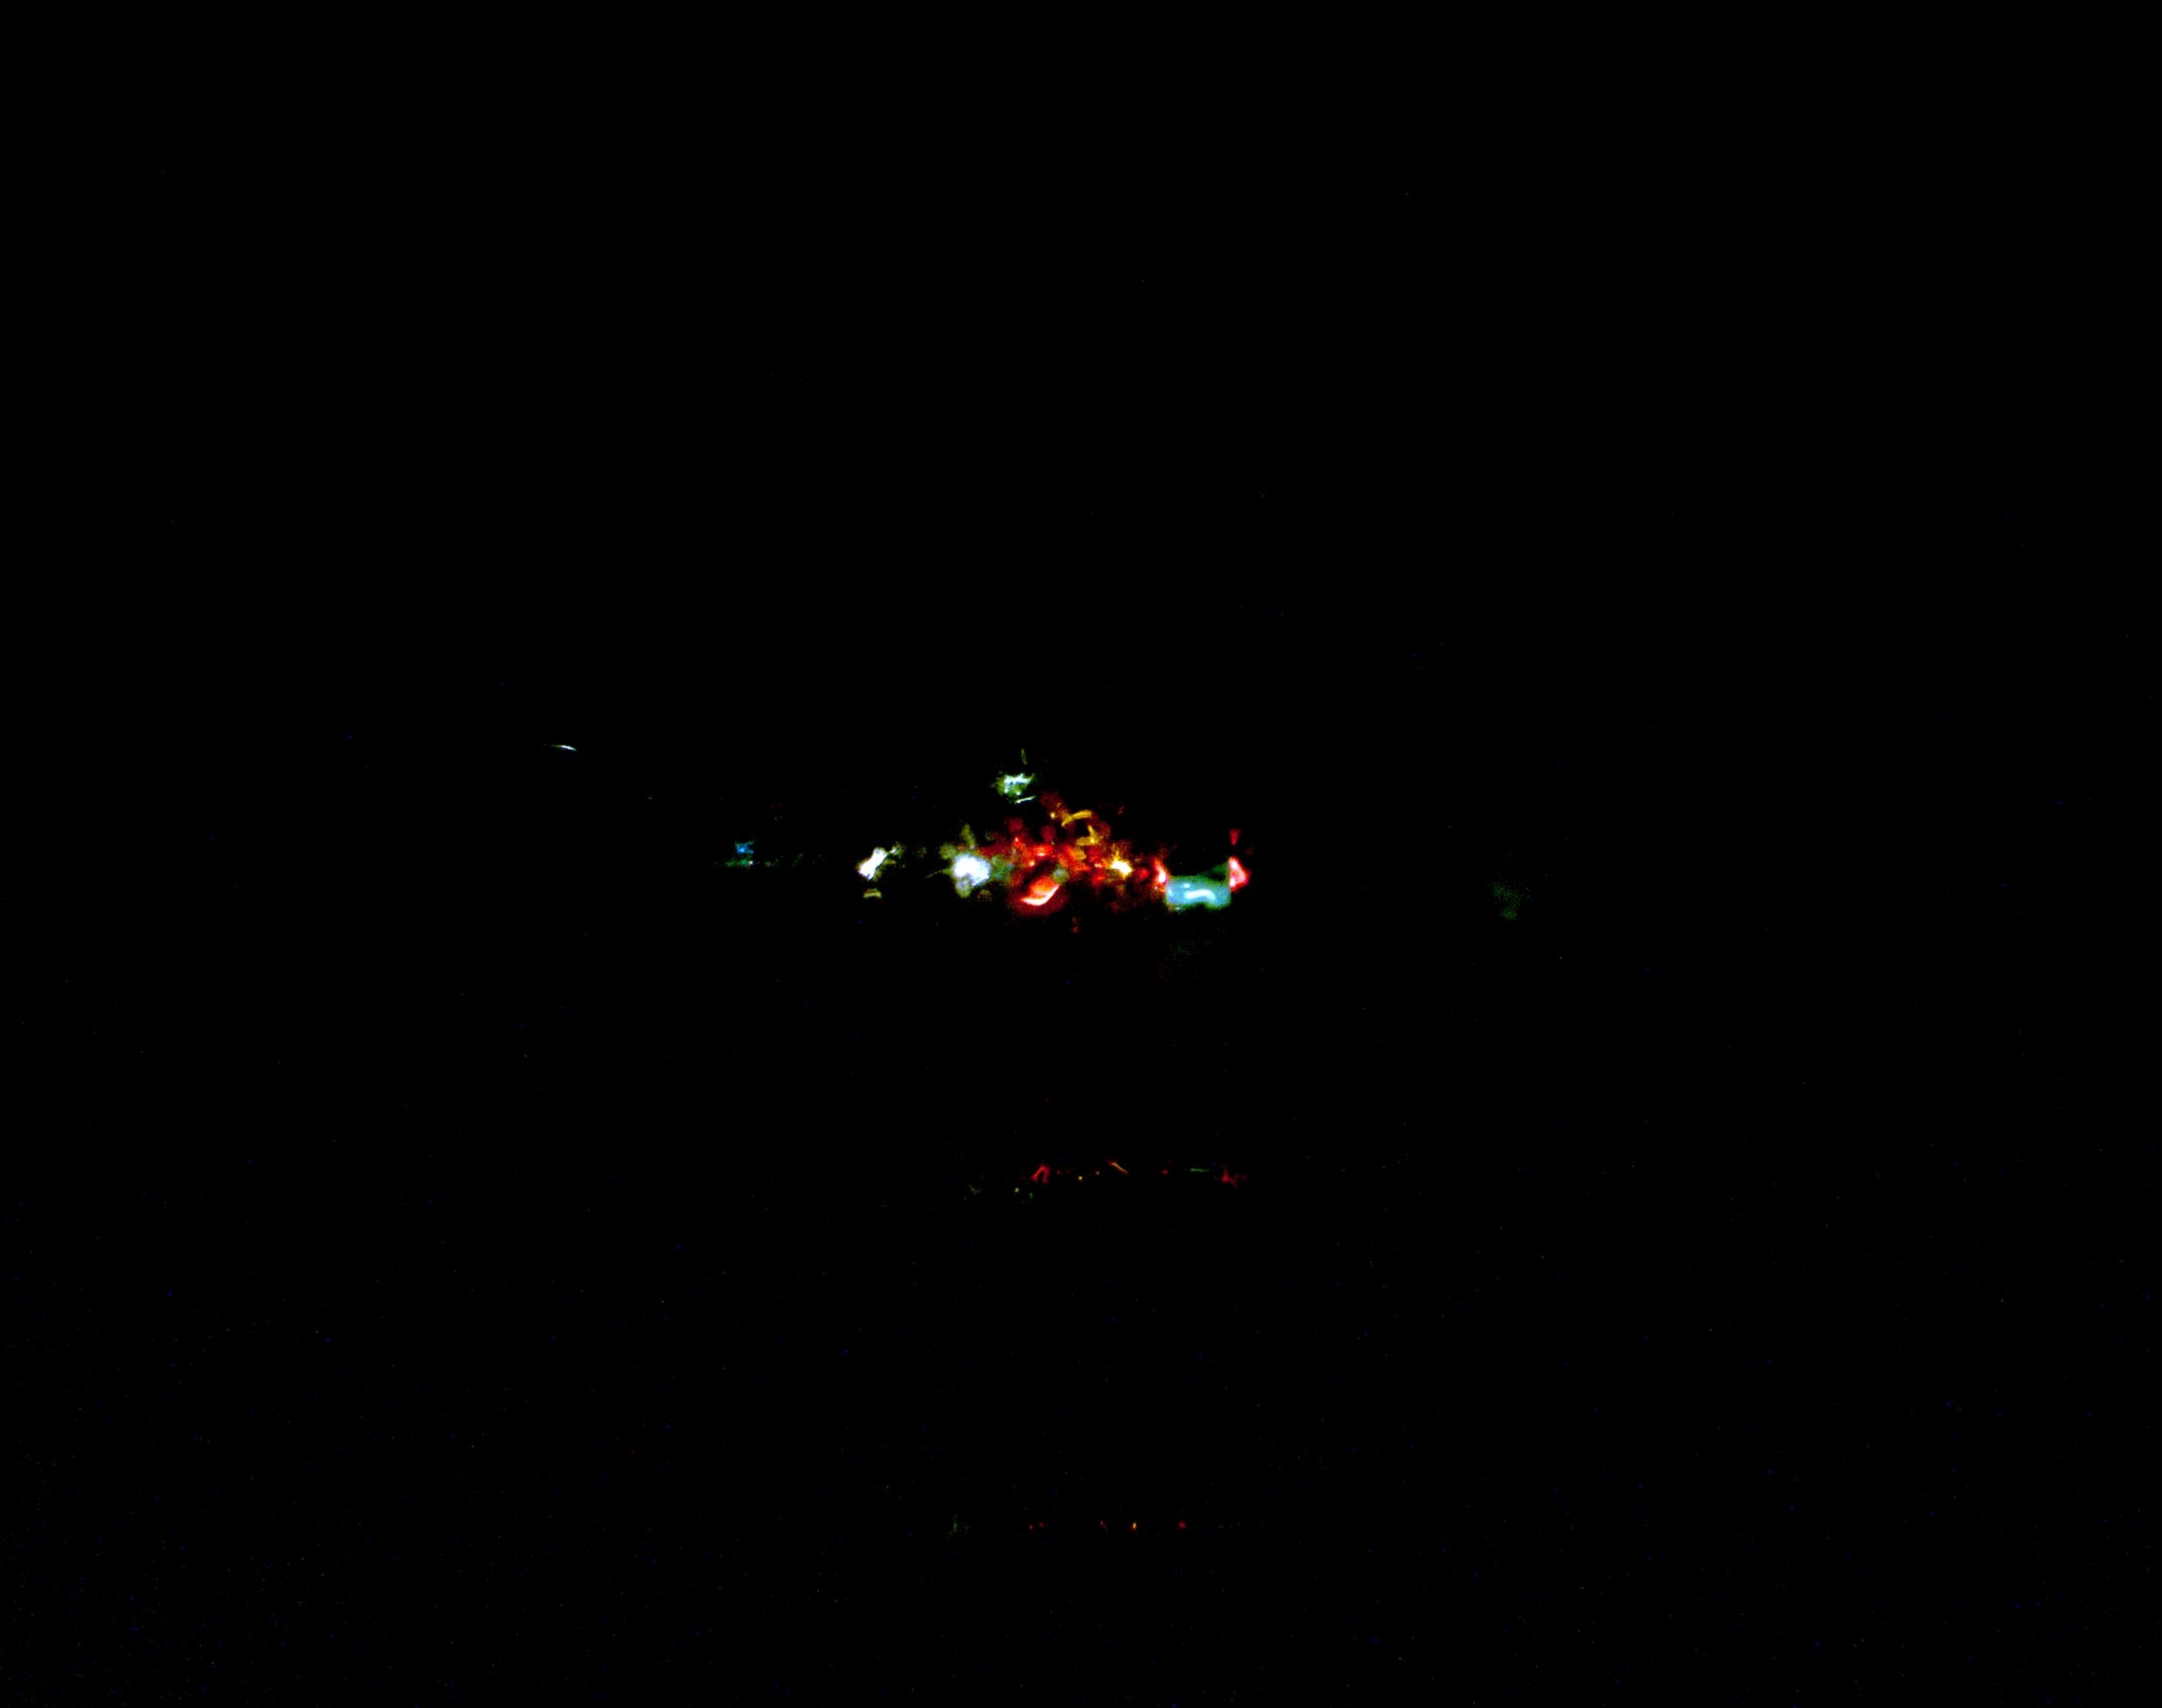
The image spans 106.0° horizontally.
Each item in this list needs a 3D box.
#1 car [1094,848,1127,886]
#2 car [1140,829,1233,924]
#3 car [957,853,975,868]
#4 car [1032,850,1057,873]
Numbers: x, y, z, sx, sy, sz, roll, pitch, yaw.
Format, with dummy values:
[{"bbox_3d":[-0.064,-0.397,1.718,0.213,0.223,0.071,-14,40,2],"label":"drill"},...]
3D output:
[{"bbox_3d":[1.664,0.714,46.828,1.785,2.022,4.581,-1,0,1],"label":"car"},{"bbox_3d":[2.454,0.471,19.964,1.785,2.022,4.581,-1,0,1],"label":"car"},{"bbox_3d":[-12.953,0.729,92.042,1.799,1.588,4.023,0,-1,-5],"label":"car"},{"bbox_3d":[-2.958,0.565,64.559,1.781,1.782,4.429,-2,0,-5],"label":"car"}]
